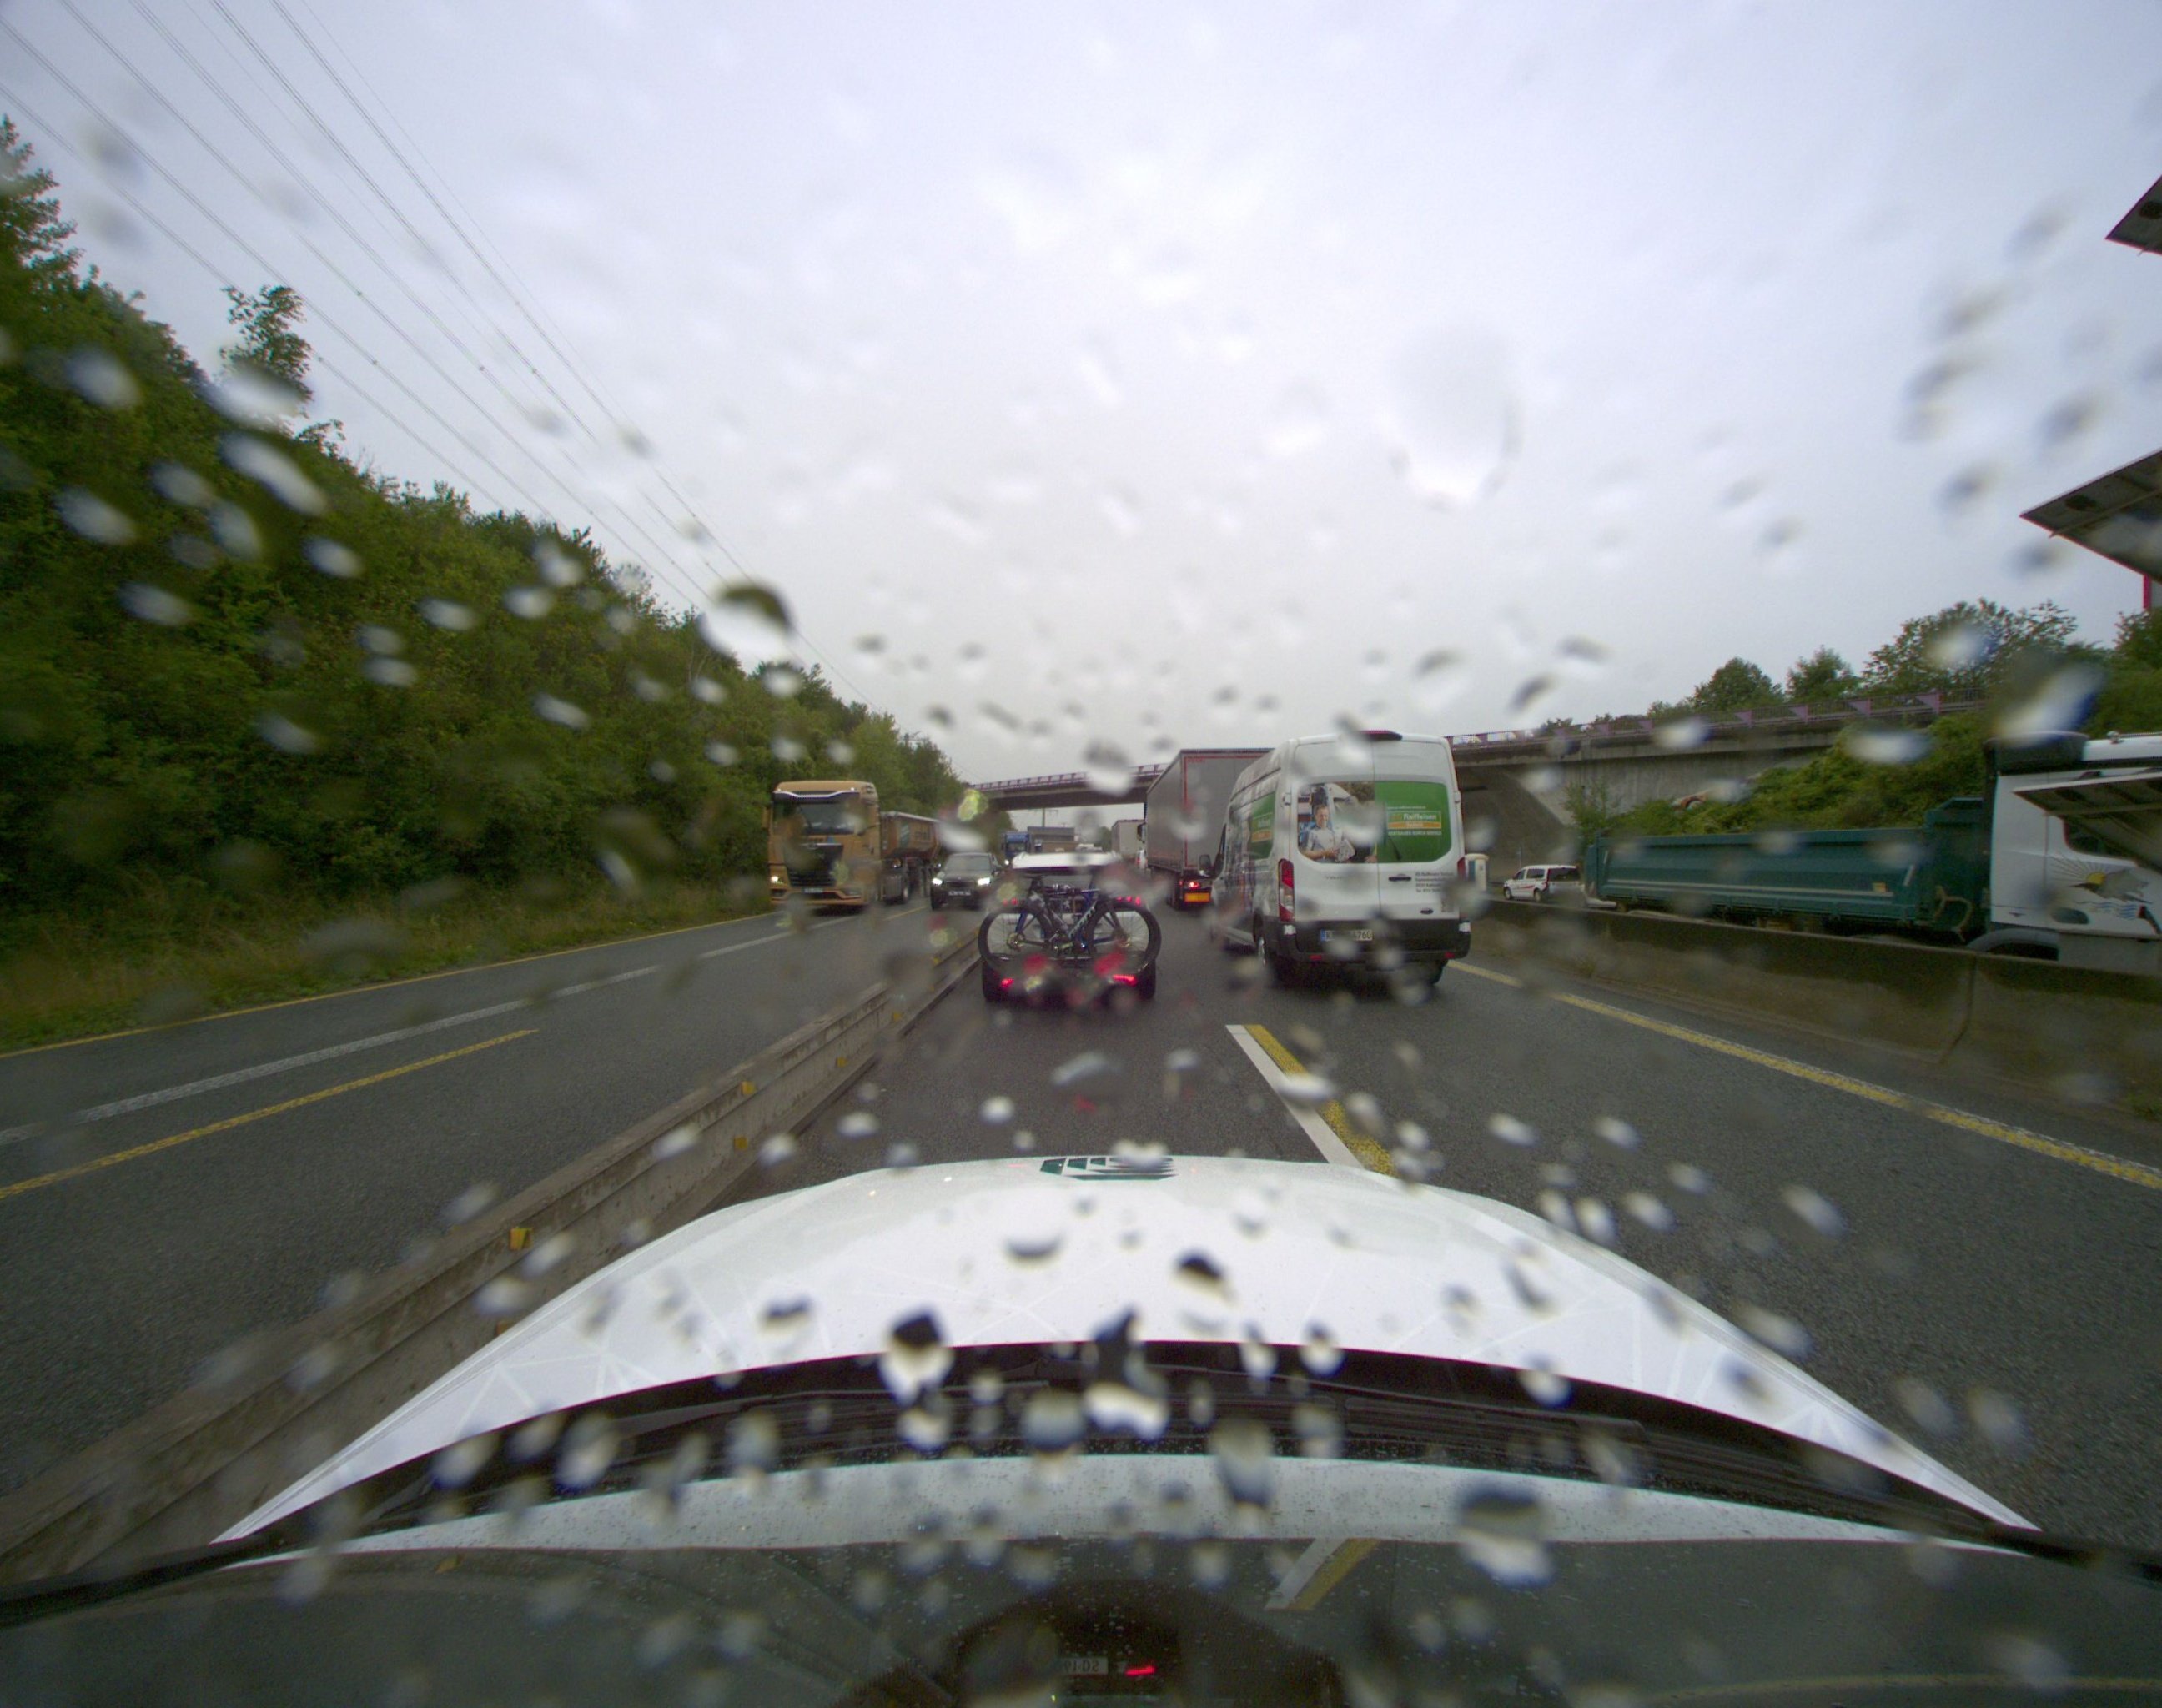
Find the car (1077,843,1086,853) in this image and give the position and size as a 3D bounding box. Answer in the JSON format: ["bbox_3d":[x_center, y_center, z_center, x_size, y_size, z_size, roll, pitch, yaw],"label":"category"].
[{"bbox_3d":[0.210,-1.438,198.110,1.986,2.126,4.528,-1,-1,1],"label":"car"}]

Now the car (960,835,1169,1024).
[{"bbox_3d":[-0.040,0.678,9.421,1.803,1.637,4.638,-1,0,3],"label":"car"}]

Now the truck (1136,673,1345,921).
[{"bbox_3d":[4.347,-1.233,28.937,3.965,5.673,20.382,-1,0,2],"label":"truck"}]

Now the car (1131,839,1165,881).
[{"bbox_3d":[3.625,0.340,44.563,1.663,2.180,4.537,-1,-1,3],"label":"car"}]

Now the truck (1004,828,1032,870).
[{"bbox_3d":[-6.774,-0.444,90.013,2.760,4.123,16.905,-1,0,-3],"label":"truck"}]

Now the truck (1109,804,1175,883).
[{"bbox_3d":[4.879,-0.672,69.462,4.724,5.673,20.388,-1,0,3],"label":"truck"}]

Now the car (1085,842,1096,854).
[{"bbox_3d":[2.031,-1.235,170.012,2.231,2.307,4.573,-1,-1,1],"label":"car"}]

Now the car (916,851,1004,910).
[{"bbox_3d":[-3.528,0.736,24.510,1.928,1.607,4.121,-1,0,1],"label":"car"}]

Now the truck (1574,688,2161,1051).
[{"bbox_3d":[10.661,0.152,11.082,2.511,3.132,9.120,-1,0,1],"label":"truck"}]

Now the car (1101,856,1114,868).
[{"bbox_3d":[3.243,0.961,99.534,1.632,1.497,3.667,-1,-1,1],"label":"car"}]

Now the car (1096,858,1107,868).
[{"bbox_3d":[3.071,1.347,124.361,1.632,1.497,3.667,-1,-1,1],"label":"car"}]

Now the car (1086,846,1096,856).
[{"bbox_3d":[1.950,-0.563,157.351,1.986,2.014,4.001,-1,-1,1],"label":"car"}]

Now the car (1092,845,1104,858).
[{"bbox_3d":[2.909,-0.411,139.605,1.987,2.014,3.999,-1,-1,0],"label":"car"}]

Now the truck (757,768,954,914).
[{"bbox_3d":[-6.676,-0.276,26.766,2.671,3.656,12.315,-1,0,2],"label":"truck"}]

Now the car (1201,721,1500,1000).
[{"bbox_3d":[3.055,0.084,10.951,2.136,2.676,6.119,-1,-1,2],"label":"car"}]

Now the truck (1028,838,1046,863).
[{"bbox_3d":[-7.522,-0.496,139.961,2.456,4.123,10.087,-1,-1,0],"label":"truck"}]

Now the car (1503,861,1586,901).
[{"bbox_3d":[22.387,1.243,39.495,1.839,1.809,4.160,-1,-1,3],"label":"car"}]

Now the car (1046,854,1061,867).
[{"bbox_3d":[-3.469,0.846,104.138,1.778,1.610,4.103,-1,0,0],"label":"car"}]

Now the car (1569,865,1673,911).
[{"bbox_3d":[22.049,1.345,33.436,1.721,1.745,4.127,-1,-1,3],"label":"car"}]
